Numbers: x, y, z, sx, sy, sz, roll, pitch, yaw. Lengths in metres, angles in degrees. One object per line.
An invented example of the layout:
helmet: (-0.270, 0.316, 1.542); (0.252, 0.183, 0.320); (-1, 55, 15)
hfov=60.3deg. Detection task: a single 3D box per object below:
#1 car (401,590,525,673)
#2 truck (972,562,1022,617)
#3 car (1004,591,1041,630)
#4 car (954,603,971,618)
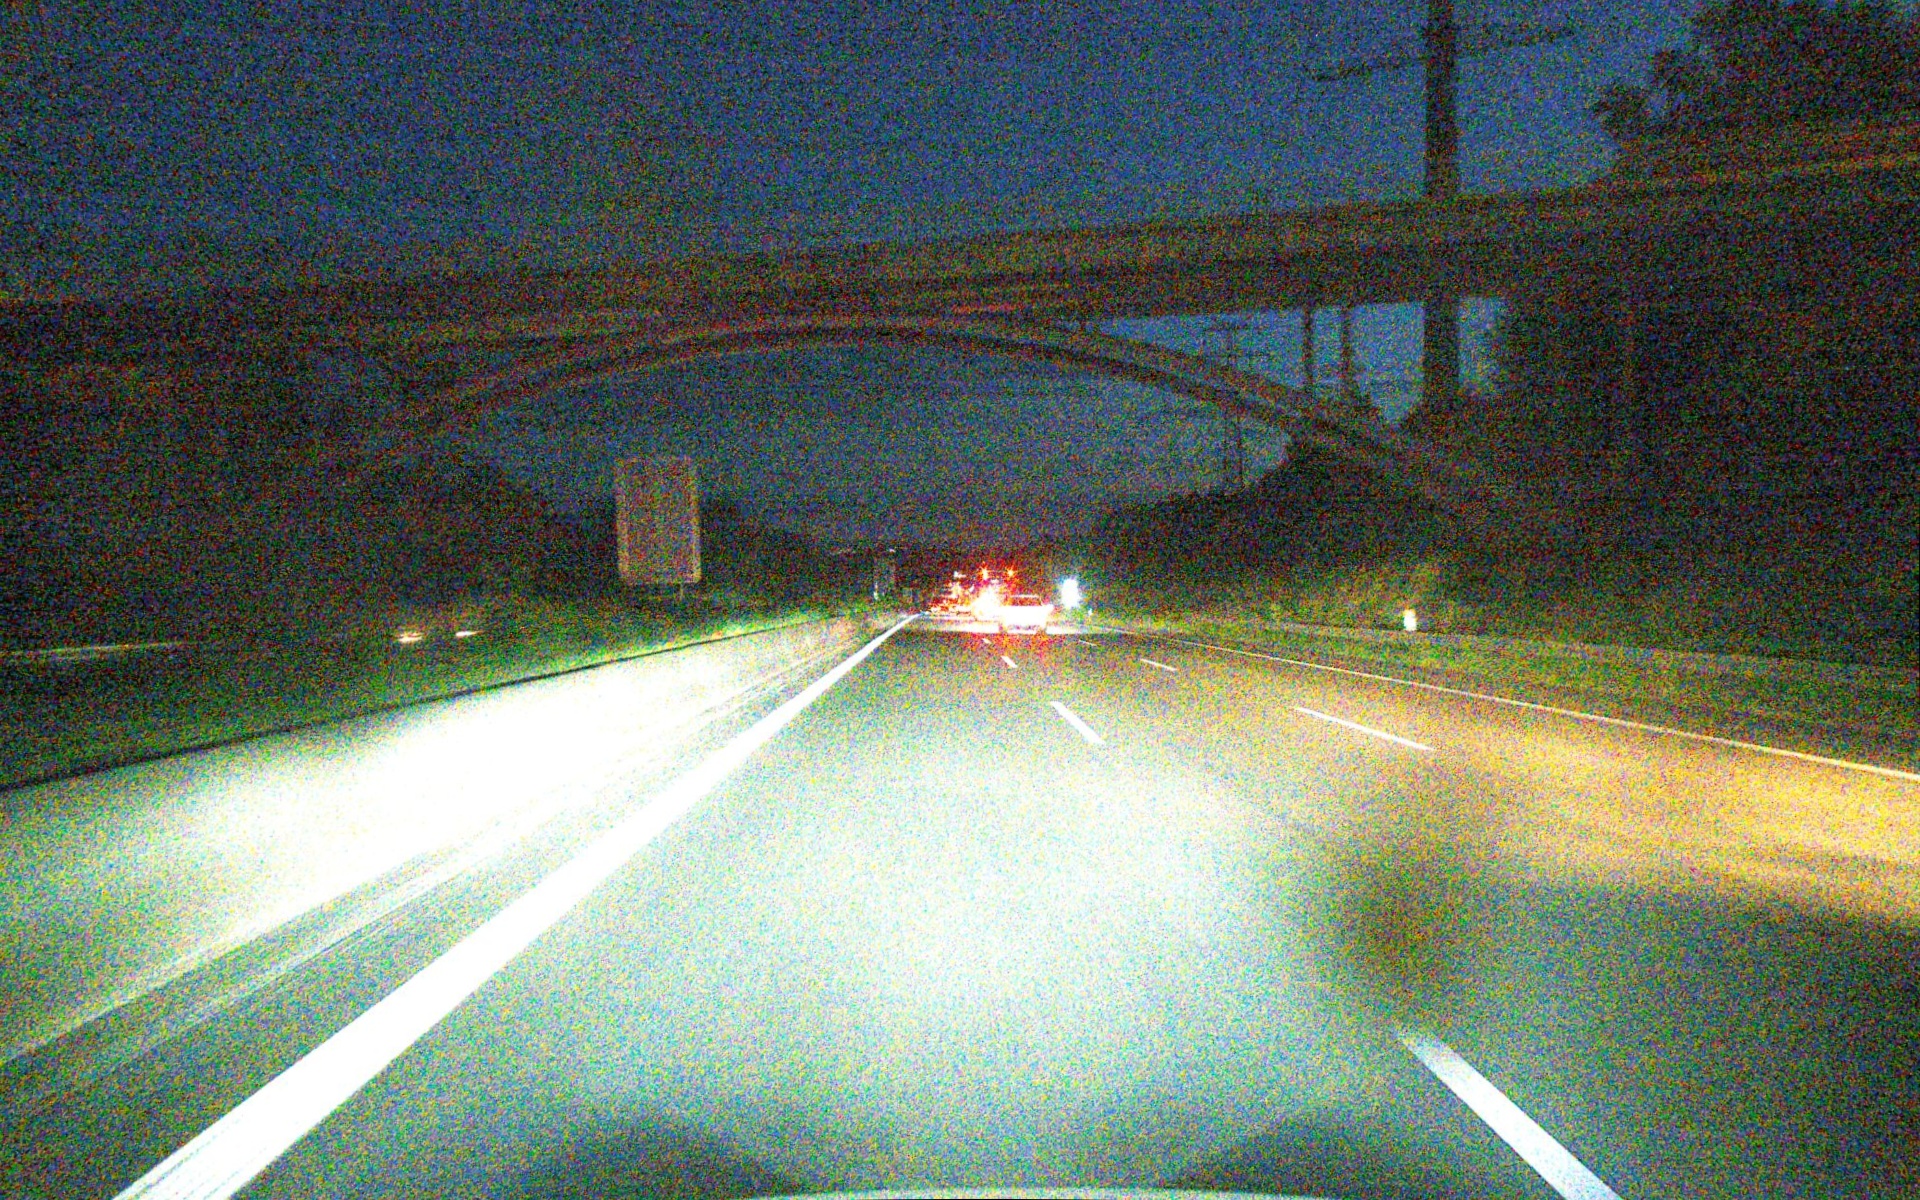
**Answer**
car: (-12.297, 0.718, 41.226); (1.654, 1.785, 5.056); (1, 2, -1)
truck: (2.405, -0.783, 109.647); (2.982, 3.382, 10.142); (2, 2, 0)
car: (2.470, 0.394, 66.248); (1.318, 1.411, 3.502); (2, 2, 0)
car: (0.283, 1.128, 182.502); (1.784, 1.491, 4.248); (2, 2, 0)
